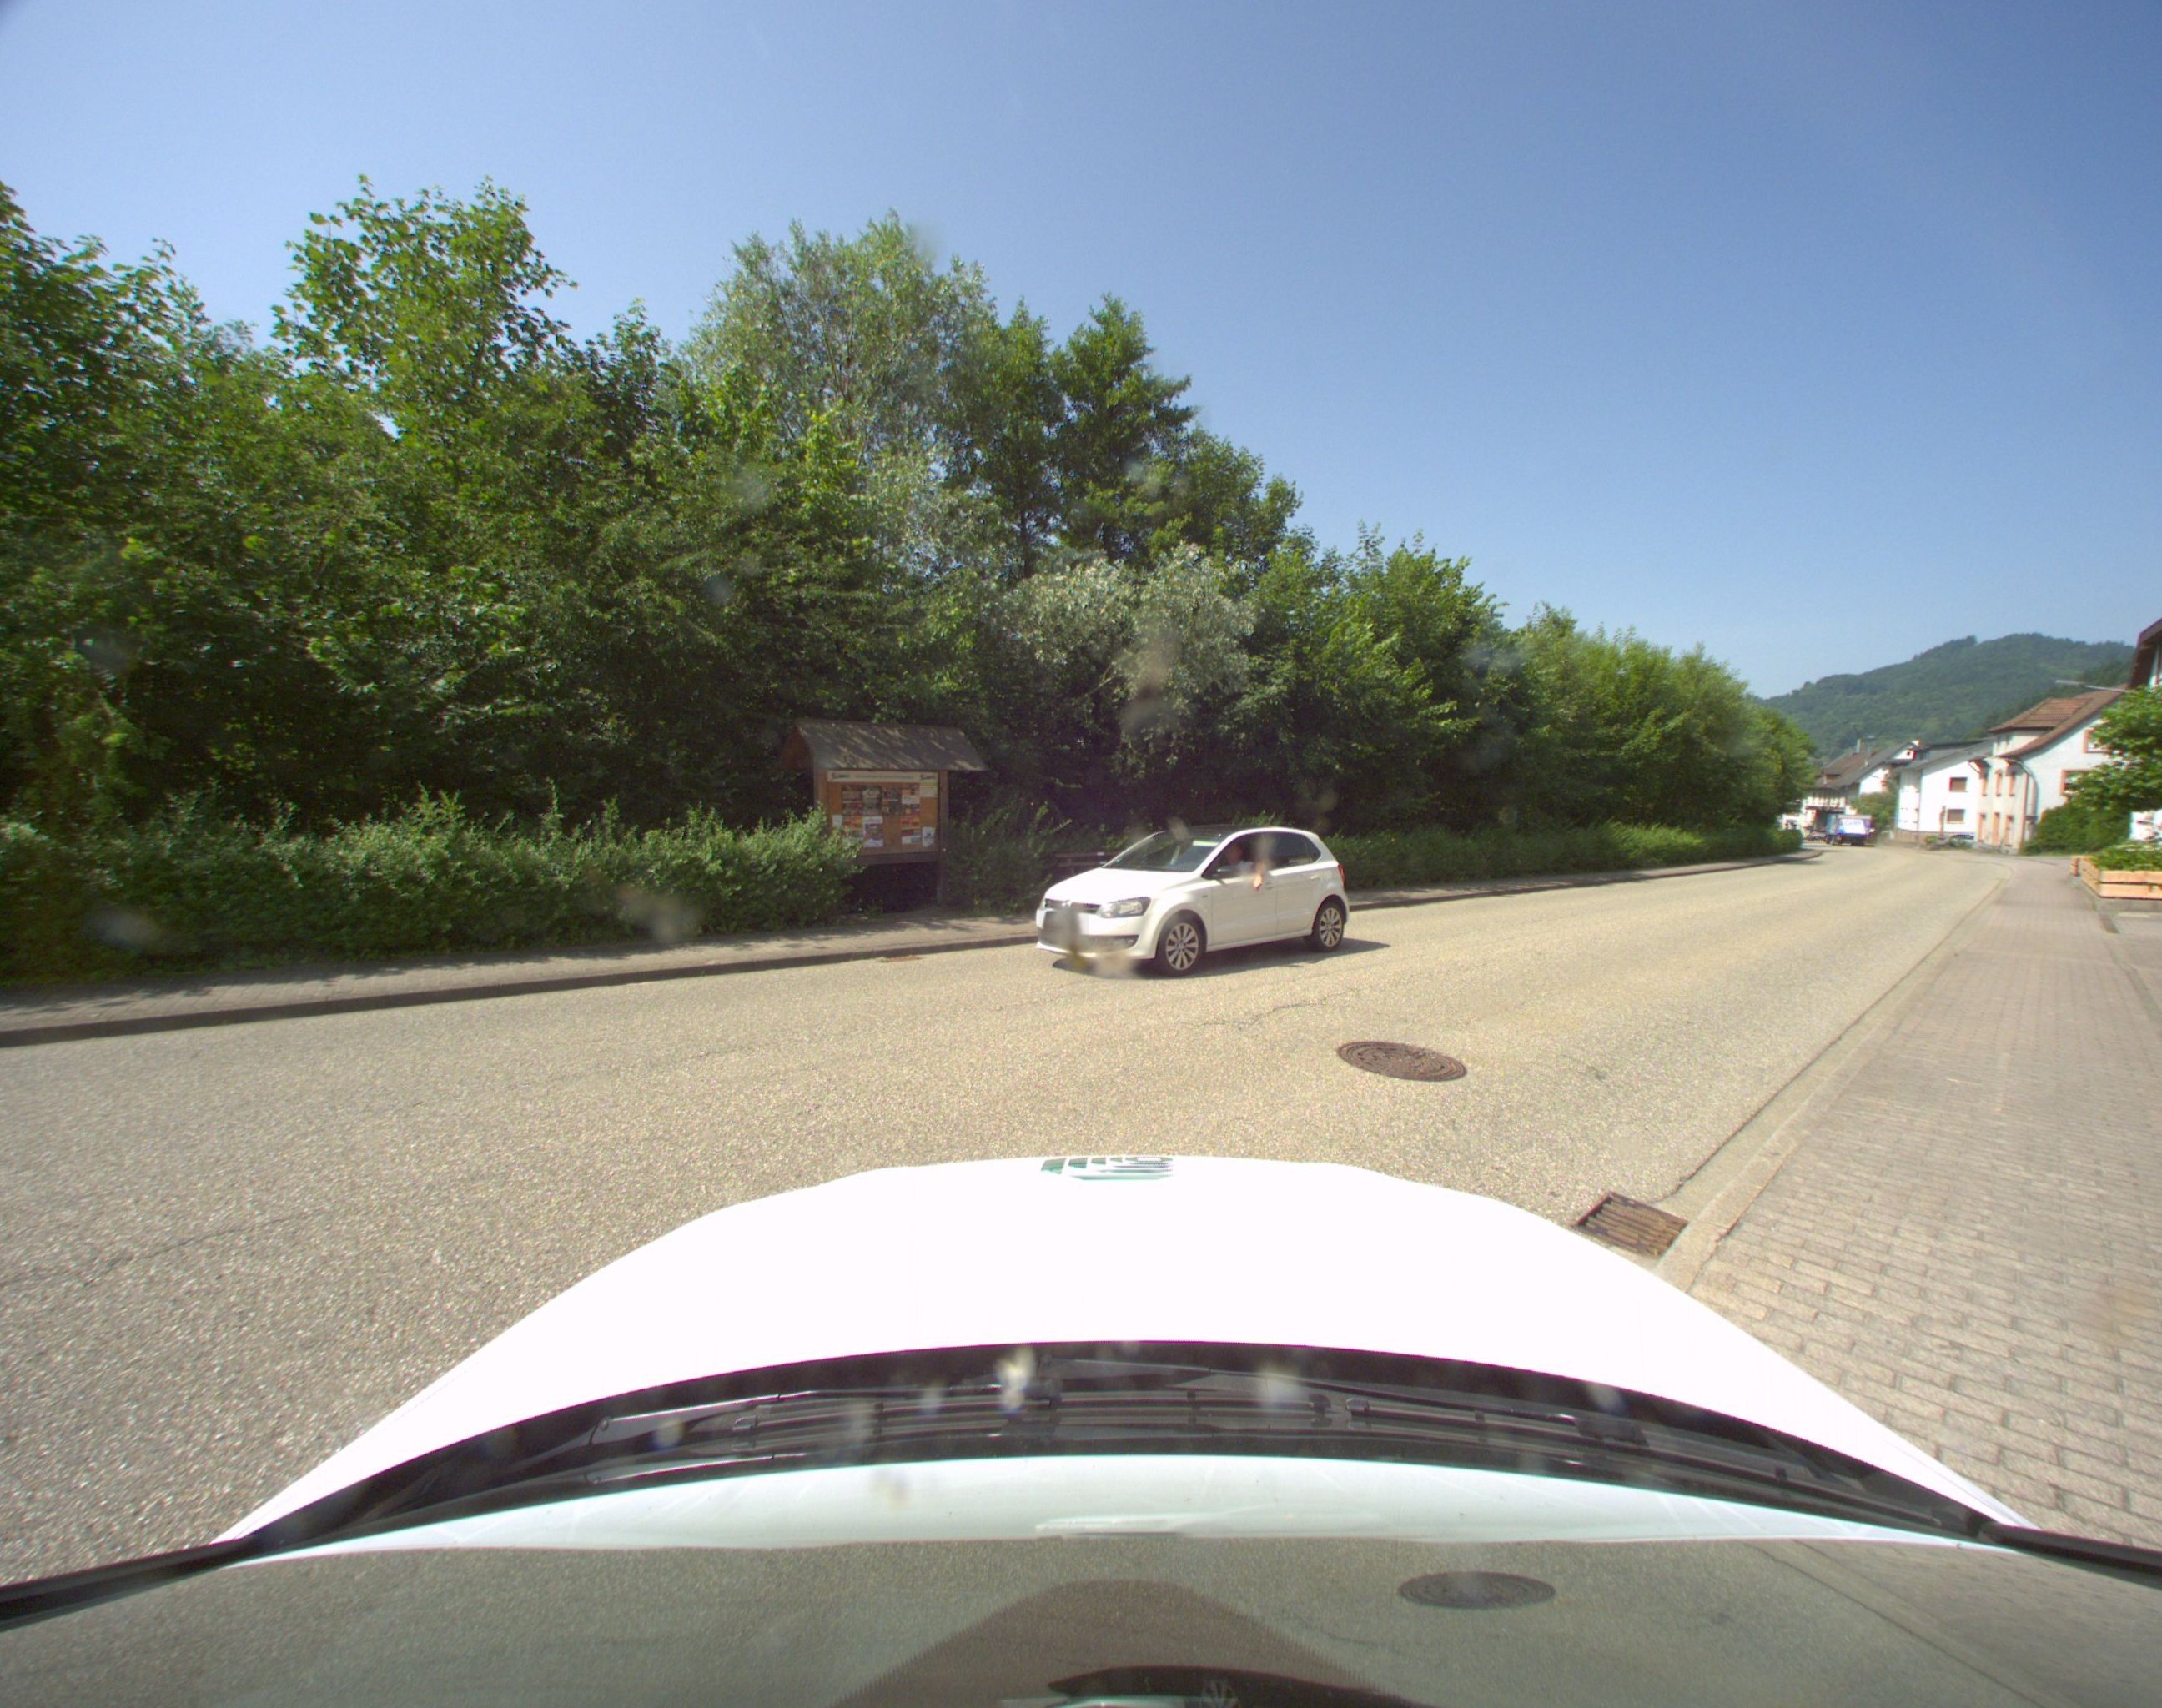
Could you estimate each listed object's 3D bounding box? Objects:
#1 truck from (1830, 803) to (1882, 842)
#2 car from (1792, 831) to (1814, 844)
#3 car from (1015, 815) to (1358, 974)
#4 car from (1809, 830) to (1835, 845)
[{"bbox_3d":[83.776,-3.294,88.207,3.330,3.782,8.493,-1,-1,39],"label":"truck"},{"bbox_3d":[107.180,-2.417,120.937,1.974,1.882,4.025,-1,-1,34],"label":"car"},{"bbox_3d":[1.298,0.345,9.037,3.847,1.405,1.591,0,1,-40],"label":"car"},{"bbox_3d":[97.433,-2.119,107.154,1.974,1.882,4.025,-1,-1,35],"label":"car"}]
